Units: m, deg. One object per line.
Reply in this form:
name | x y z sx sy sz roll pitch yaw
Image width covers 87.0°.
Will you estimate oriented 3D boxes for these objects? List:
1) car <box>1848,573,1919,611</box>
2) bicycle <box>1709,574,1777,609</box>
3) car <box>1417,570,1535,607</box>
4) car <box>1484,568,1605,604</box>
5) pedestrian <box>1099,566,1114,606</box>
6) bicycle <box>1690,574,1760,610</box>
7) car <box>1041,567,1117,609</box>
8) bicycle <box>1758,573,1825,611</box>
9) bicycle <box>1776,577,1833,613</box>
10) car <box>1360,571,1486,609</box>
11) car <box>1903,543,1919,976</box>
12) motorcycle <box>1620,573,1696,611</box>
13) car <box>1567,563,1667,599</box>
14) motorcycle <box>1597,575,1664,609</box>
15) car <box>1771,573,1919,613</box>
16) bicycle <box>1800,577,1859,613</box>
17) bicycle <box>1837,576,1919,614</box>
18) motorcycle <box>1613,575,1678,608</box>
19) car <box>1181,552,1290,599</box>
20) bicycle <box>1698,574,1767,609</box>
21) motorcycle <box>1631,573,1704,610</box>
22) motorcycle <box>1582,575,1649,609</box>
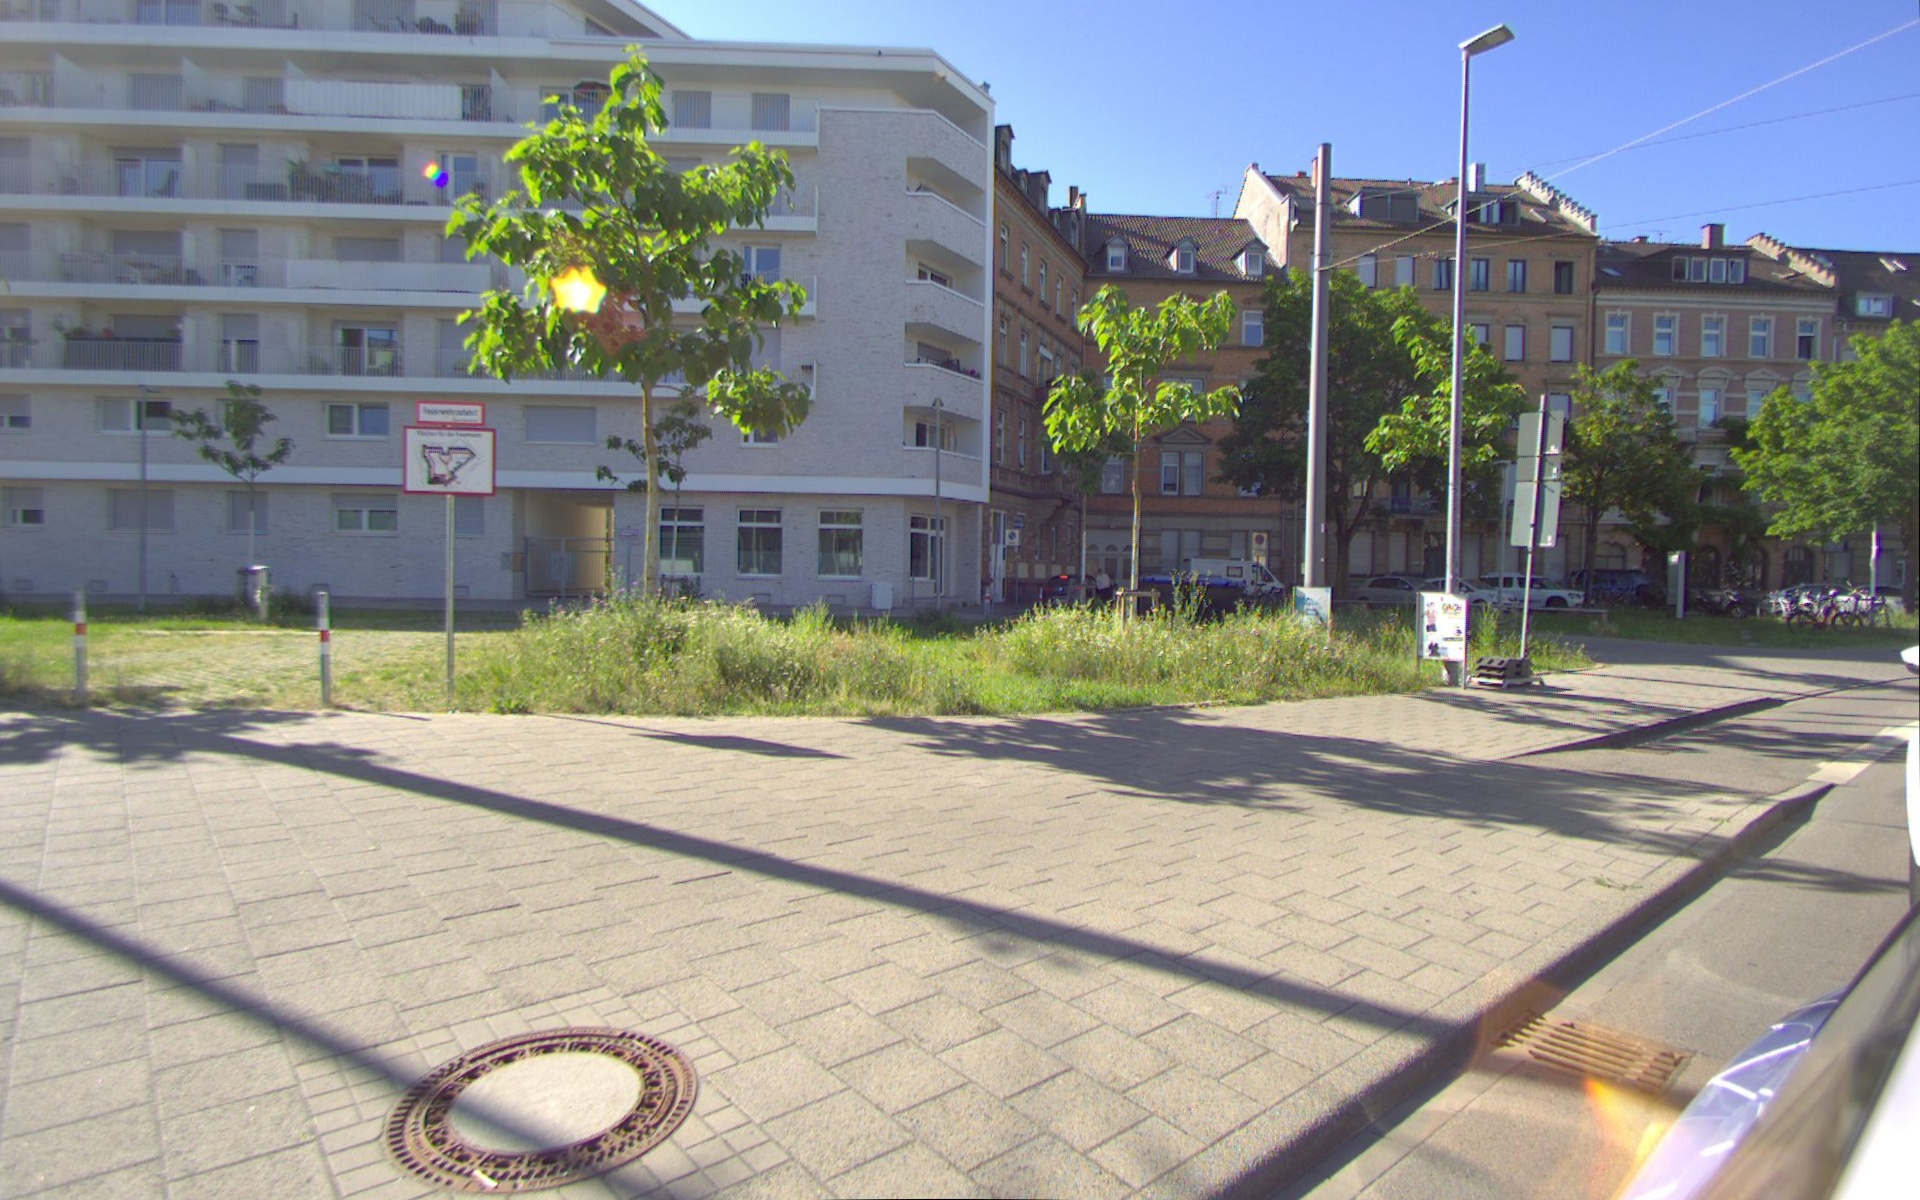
car | 37.821 -0.325 39.959 1.649 1.423 3.832 -1 3 -32
bicycle | 29.722 -0.322 38.461 0.649 1.284 2.208 0 0 -9
car | 19.670 -0.464 38.716 1.648 1.267 3.709 0 3 -28
car | 22.327 -0.575 38.771 1.513 1.267 3.700 -1 3 -39
pedestrian | 5.479 -0.524 37.821 0.500 1.474 0.480 0 0 11
bicycle | 28.368 -0.306 37.562 0.649 1.284 2.208 0 0 -11
car | 4.565 -0.503 38.297 1.811 1.444 4.359 1 2 21
bicycle | 29.272 -0.288 35.671 0.651 1.284 2.202 0 0 4
bicycle | 30.939 -0.181 37.108 0.653 1.284 2.196 0 0 12
car | 17.347 -0.419 38.106 1.648 1.267 4.170 0 3 -28
car | 5.865 0.611 4.715 4.323 1.667 1.840 0 0 -43
motorcycle | 25.337 -0.302 36.777 0.650 1.347 2.207 0 0 -28
car | 30.874 -0.917 47.647 3.631 1.607 1.552 1 2 0
motorcycle | 26.696 -0.332 40.355 0.649 1.300 2.324 0 0 -18
car | 34.684 -0.316 39.590 1.651 1.423 4.324 -1 3 -38
bicycle | 32.033 -0.189 37.331 0.653 1.284 2.196 0 0 12
bicycle | 31.628 -0.162 34.761 2.180 1.284 0.657 0 0 25
motorcycle | 27.486 -0.331 40.609 0.649 1.284 2.209 0 0 -18
car | 12.660 -1.152 46.782 4.416 2.062 2.054 1 2 0
bicycle | 29.079 -0.316 38.150 0.649 1.284 2.208 0 0 -9
motorcycle | 26.152 -0.317 37.466 0.649 1.339 2.208 0 0 -23
motorcycle | 26.025 -0.324 40.223 0.649 1.293 2.324 0 0 -18
